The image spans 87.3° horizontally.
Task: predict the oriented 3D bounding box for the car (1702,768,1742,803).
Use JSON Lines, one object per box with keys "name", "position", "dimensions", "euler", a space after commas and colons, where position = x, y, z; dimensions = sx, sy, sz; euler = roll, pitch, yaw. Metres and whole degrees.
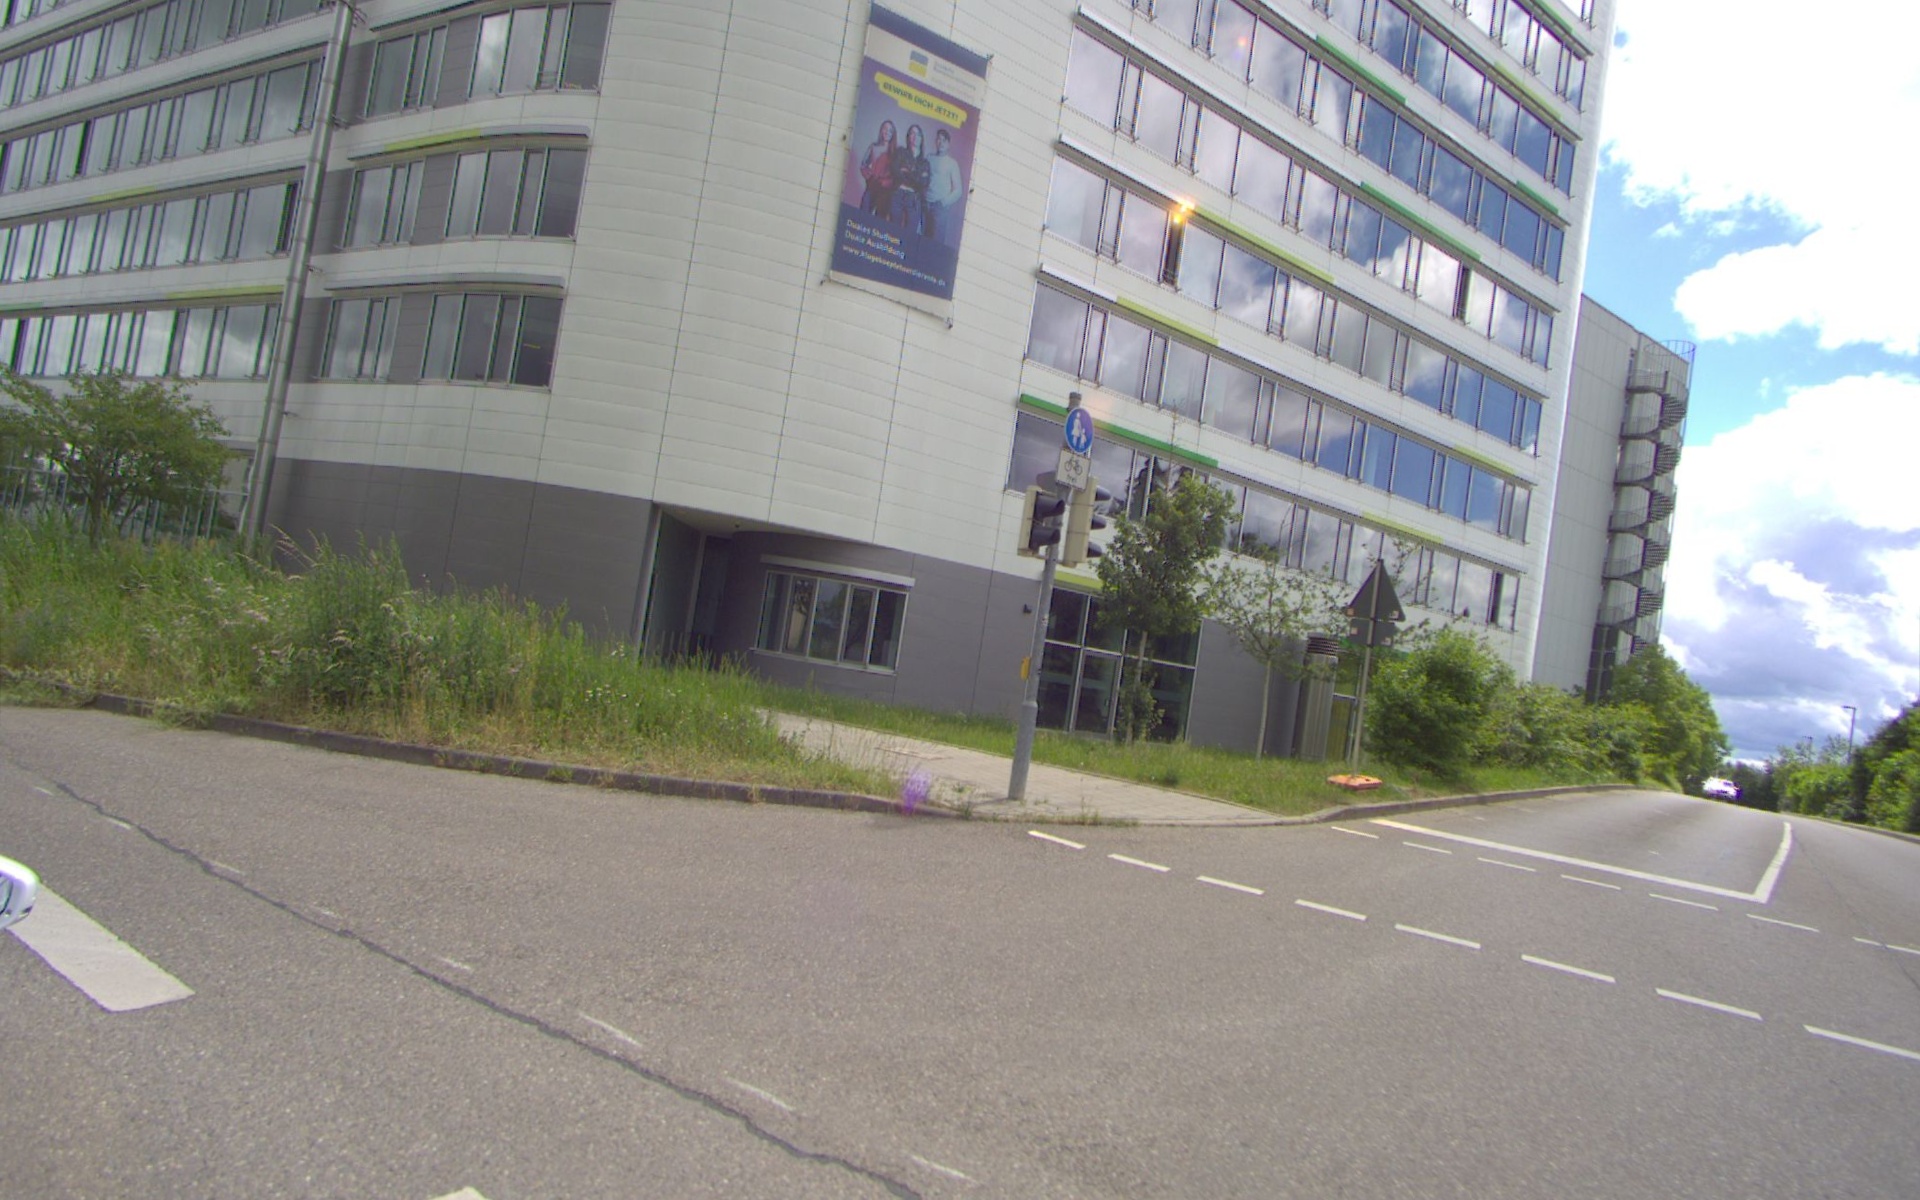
{"name": "car", "position": [54.086, 13.159, 71.410], "dimensions": [1.971, 2.035, 3.989], "euler": [6, -4, 40]}
